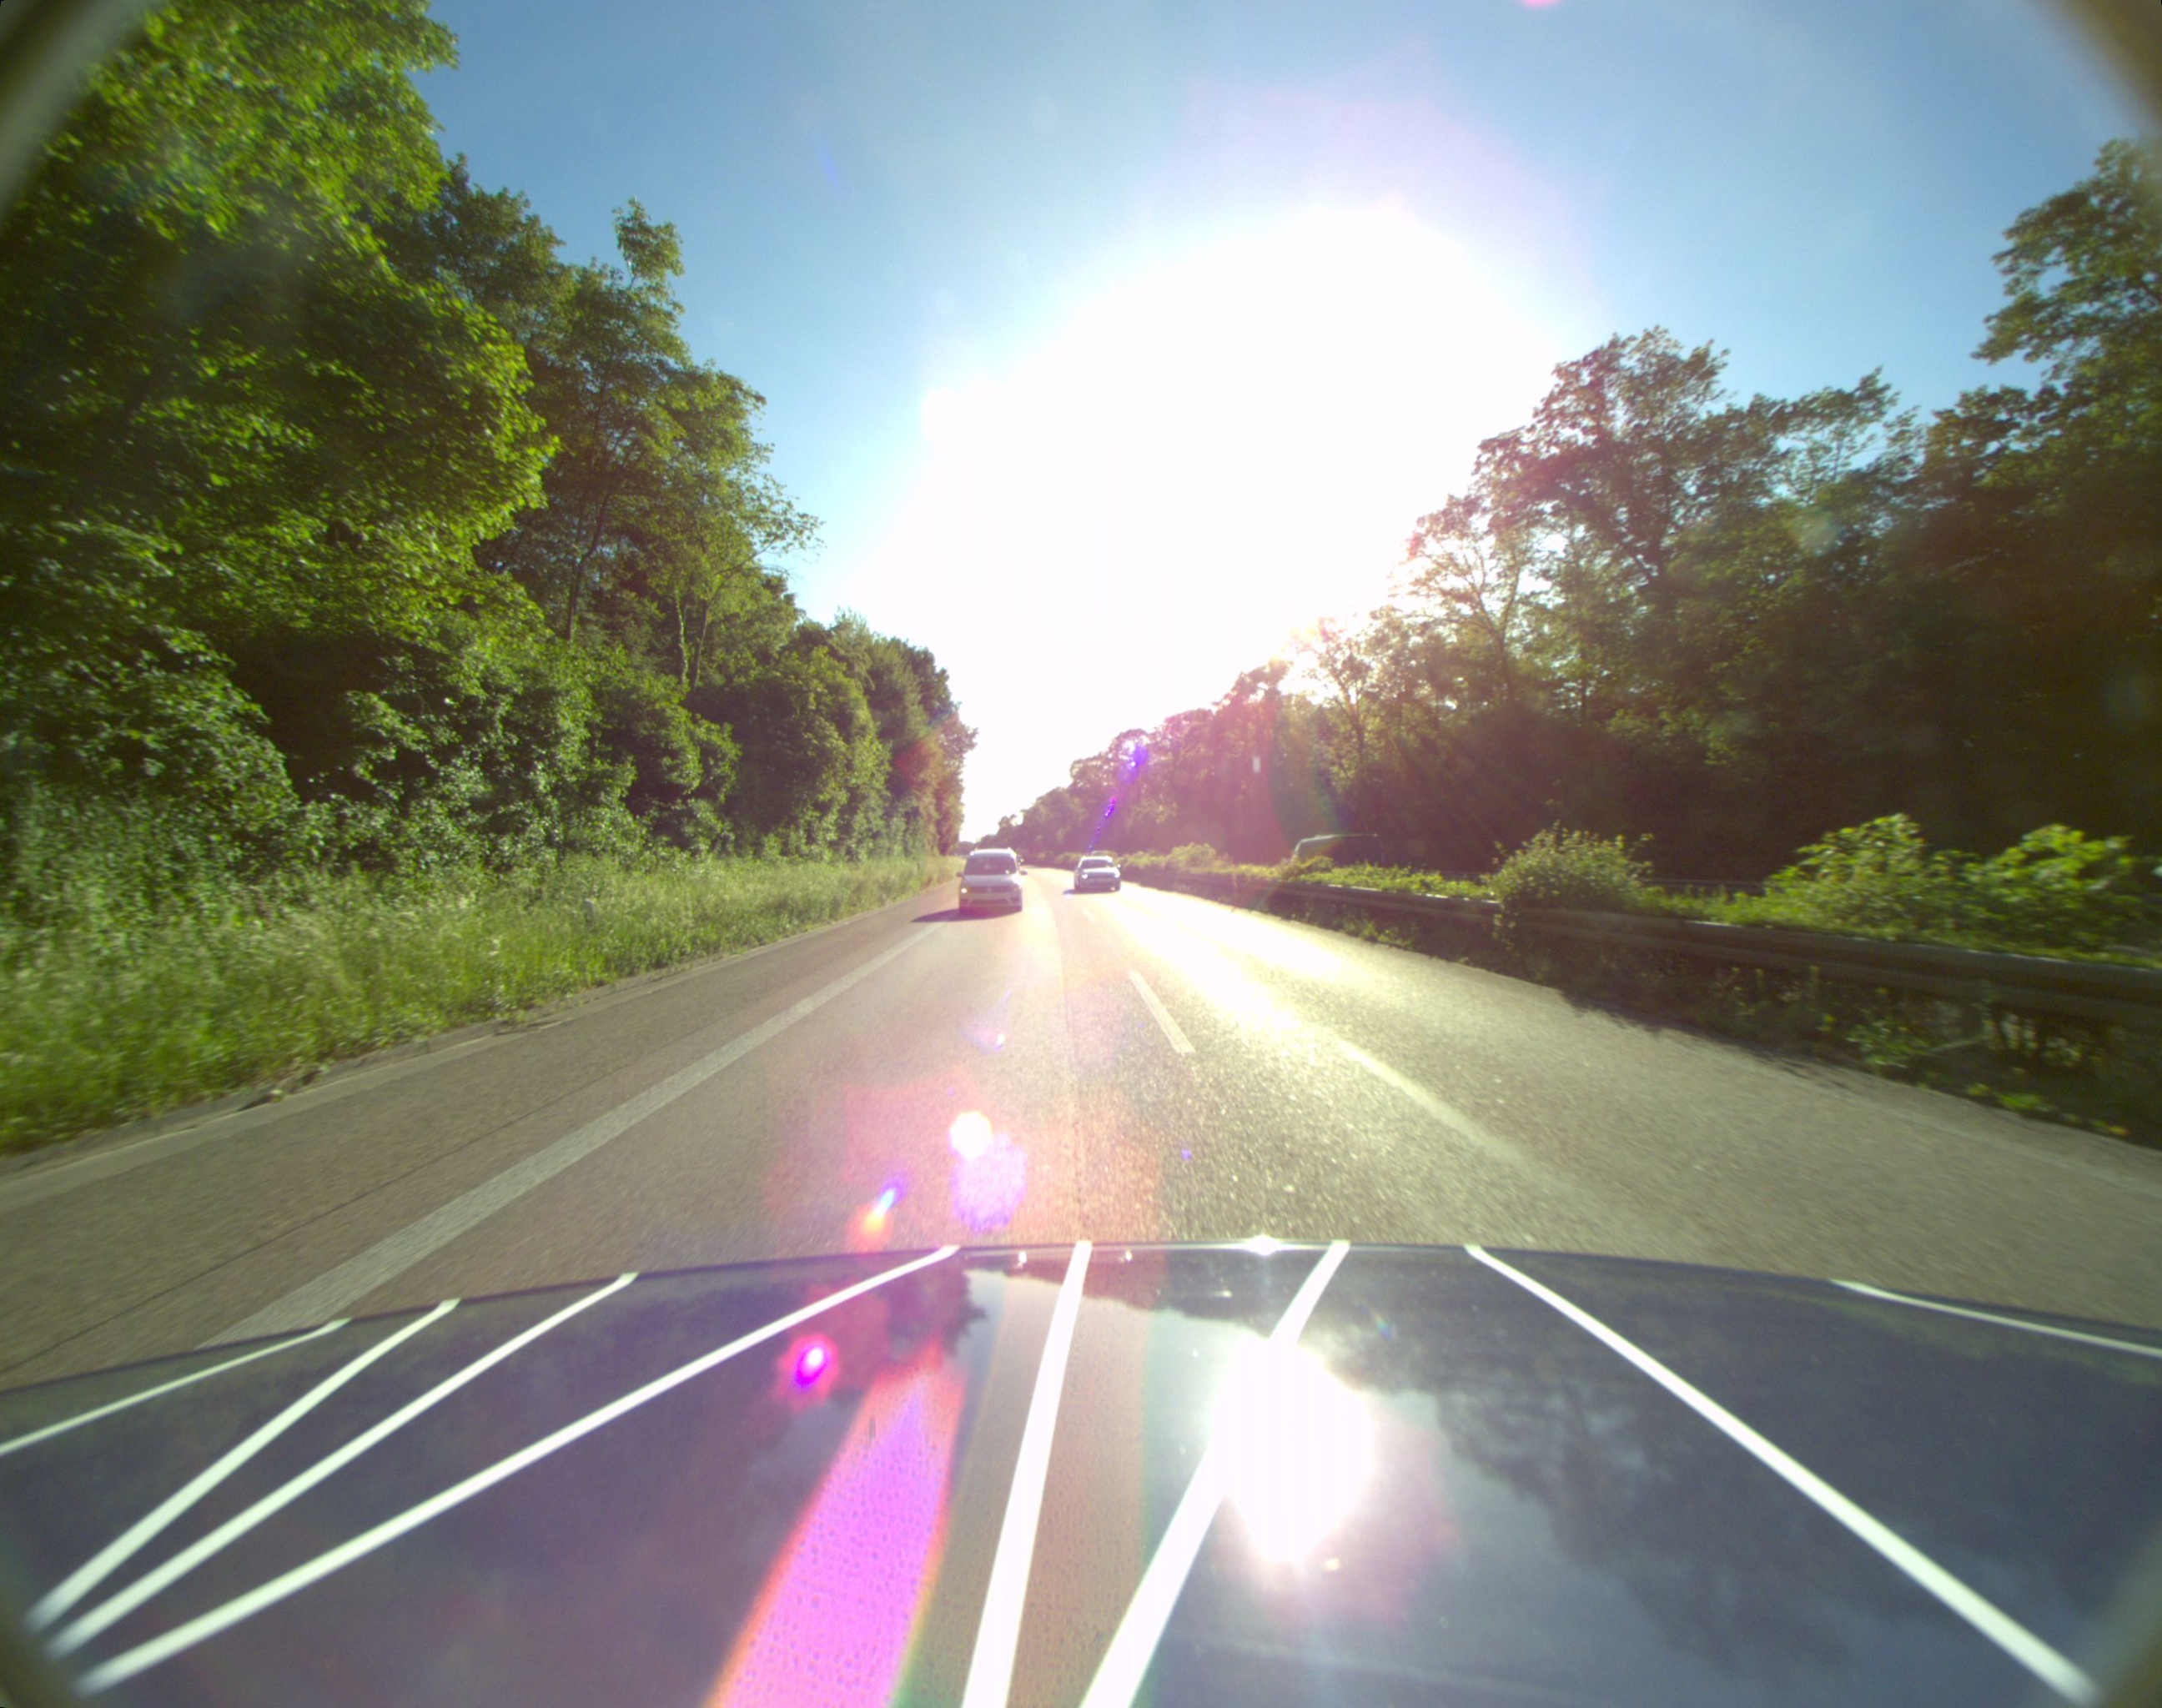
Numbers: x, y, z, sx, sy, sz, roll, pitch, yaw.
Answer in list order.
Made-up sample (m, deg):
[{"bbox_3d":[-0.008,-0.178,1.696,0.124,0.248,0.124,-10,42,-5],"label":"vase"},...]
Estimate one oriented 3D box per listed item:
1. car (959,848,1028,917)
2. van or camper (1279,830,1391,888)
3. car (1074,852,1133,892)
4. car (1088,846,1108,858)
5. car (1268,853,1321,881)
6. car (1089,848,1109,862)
[{"bbox_3d":[-2.540,0.740,22.918,1.800,1.796,4.830,-2,1,-4],"label":"car"},{"bbox_3d":[9.504,0.172,29.000,2.149,2.002,5.577,0,0,-3],"label":"van or camper"},{"bbox_3d":[0.838,0.726,32.016,1.935,1.499,5.597,-1,0,-4],"label":"car"},{"bbox_3d":[2.130,-0.251,95.883,1.886,1.505,4.353,-2,1,-7],"label":"car"},{"bbox_3d":[13.091,0.763,46.771,1.885,1.505,3.998,-2,1,-4],"label":"car"},{"bbox_3d":[2.072,0.071,90.024,1.999,1.587,3.998,-2,1,-4],"label":"car"}]
